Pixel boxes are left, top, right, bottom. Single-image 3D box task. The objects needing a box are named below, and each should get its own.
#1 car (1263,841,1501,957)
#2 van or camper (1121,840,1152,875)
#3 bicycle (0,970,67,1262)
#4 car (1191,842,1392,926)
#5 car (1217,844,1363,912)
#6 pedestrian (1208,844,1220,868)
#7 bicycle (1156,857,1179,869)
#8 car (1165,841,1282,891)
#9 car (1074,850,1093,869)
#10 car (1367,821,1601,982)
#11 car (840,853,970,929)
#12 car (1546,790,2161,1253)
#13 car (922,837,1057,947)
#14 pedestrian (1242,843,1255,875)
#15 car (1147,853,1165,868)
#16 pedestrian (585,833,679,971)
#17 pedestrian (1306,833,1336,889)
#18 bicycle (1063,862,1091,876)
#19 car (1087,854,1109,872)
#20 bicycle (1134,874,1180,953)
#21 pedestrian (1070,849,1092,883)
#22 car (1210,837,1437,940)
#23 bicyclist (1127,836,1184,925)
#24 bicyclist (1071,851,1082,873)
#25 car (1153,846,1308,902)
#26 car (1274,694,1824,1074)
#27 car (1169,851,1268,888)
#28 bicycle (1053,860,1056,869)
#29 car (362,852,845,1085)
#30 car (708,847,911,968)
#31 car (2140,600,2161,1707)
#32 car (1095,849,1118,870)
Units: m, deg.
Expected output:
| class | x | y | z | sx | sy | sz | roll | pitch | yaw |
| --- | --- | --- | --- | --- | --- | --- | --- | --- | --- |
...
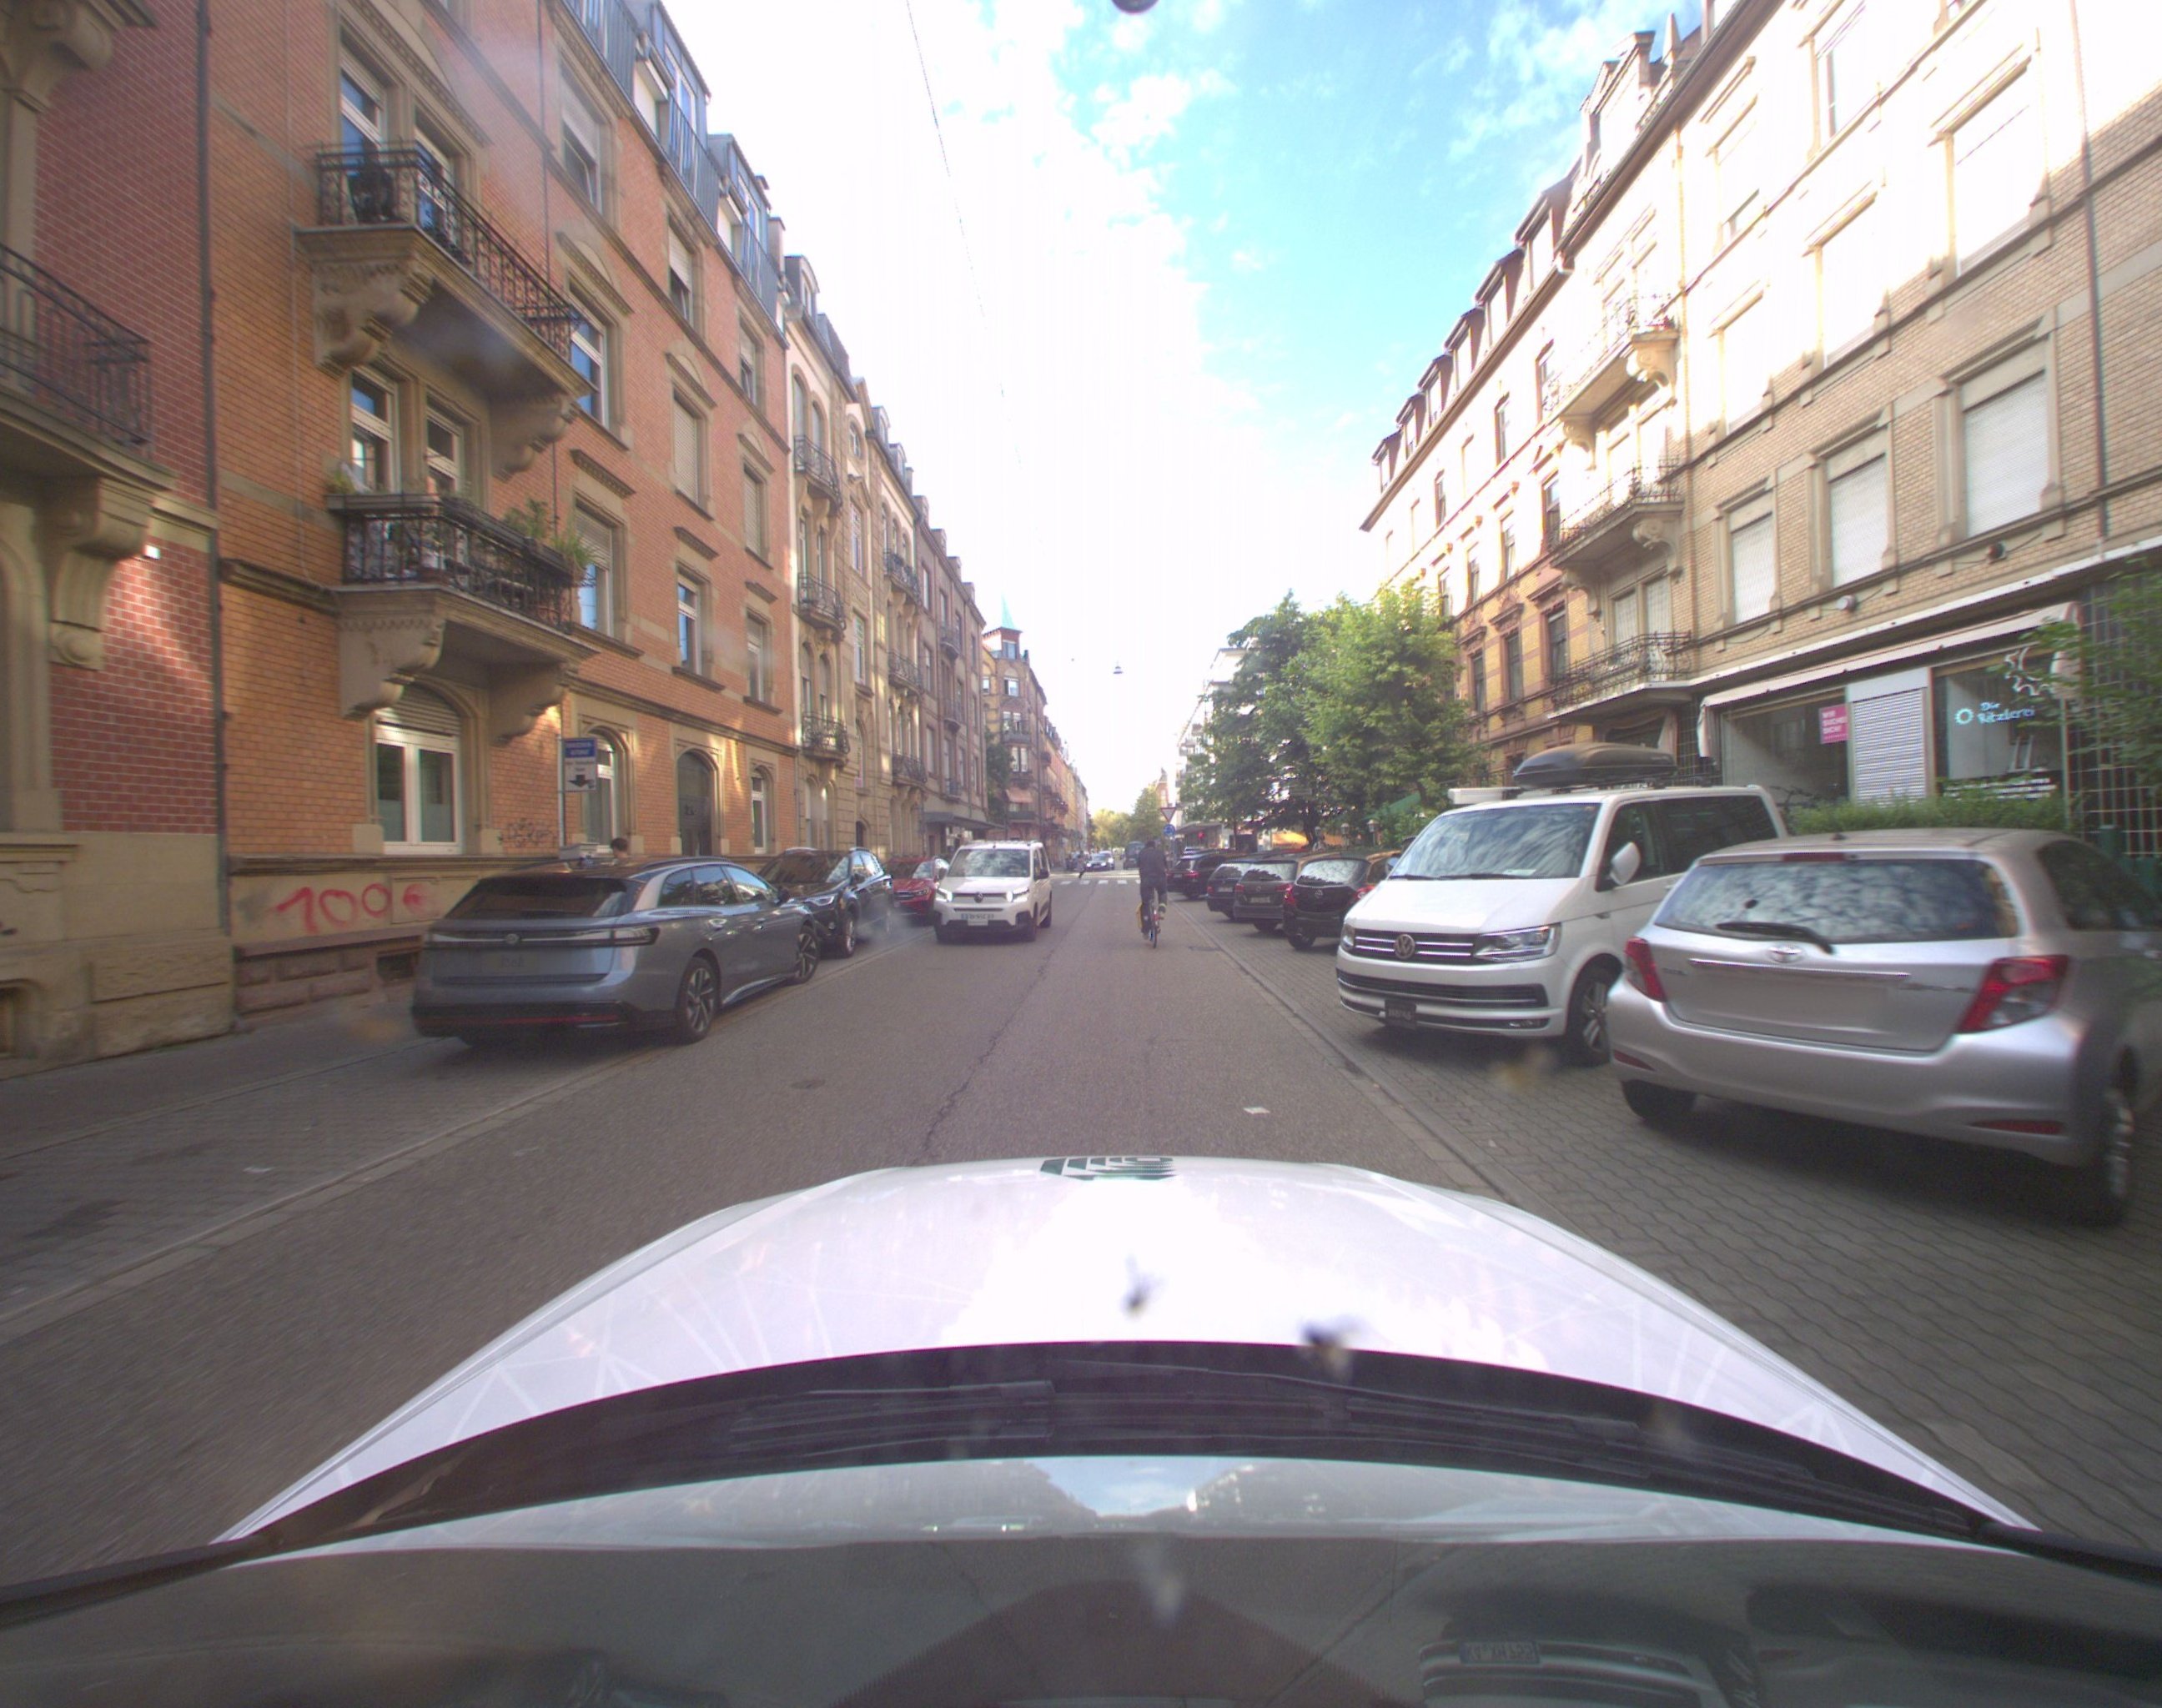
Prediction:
| class | x | y | z | sx | sy | sz | roll | pitch | yaw |
| --- | --- | --- | --- | --- | --- | --- | --- | --- | --- |
| car | 4.917 | 0.620 | 13.077 | 4.015 | 1.459 | 1.730 | -3 | 0 | -39 |
| van or camper | 5.023 | 0.315 | 74.398 | 2.523 | 3.037 | 4.459 | -2 | 0 | 0 |
| bicycle | -4.669 | 1.011 | 2.475 | 0.477 | 1.059 | 1.915 | 0 | -1 | 27 |
| car | 4.902 | 0.614 | 18.722 | 4.485 | 1.464 | 1.860 | -4 | 1 | -32 |
| car | 5.578 | 0.581 | 21.581 | 3.736 | 1.485 | 1.722 | -4 | 1 | -36 |
| pedestrian | 10.295 | 0.135 | 63.217 | 0.864 | 1.851 | 0.614 | -2 | 0 | 7 |
| bicycle | 7.703 | 0.803 | 72.904 | 1.991 | 1.045 | 0.533 | -2 | 0 | 5 |
| car | 5.793 | 0.456 | 33.109 | 4.361 | 1.645 | 1.807 | -4 | 1 | -24 |
| car | 0.252 | 0.609 | 90.482 | 1.987 | 2.013 | 4.000 | -2 | 0 | 1 |
| car | 5.117 | 0.520 | 10.366 | 2.472 | 1.666 | 1.336 | -5 | 2 | -24 |
| car | -4.049 | 0.807 | 19.578 | 1.986 | 1.545 | 4.428 | -2 | 0 | 2 |
| car | 4.738 | 0.521 | 4.660 | 4.253 | 1.549 | 1.854 | -1 | 1 | -33 |
| car | -1.611 | 0.646 | 15.949 | 1.909 | 1.828 | 4.442 | -1 | 0 | 3 |
| pedestrian | 9.526 | 0.279 | 46.344 | 0.624 | 1.739 | 0.779 | -2 | 0 | 15 |
| car | 7.669 | 0.656 | 83.409 | 1.638 | 1.324 | 3.580 | -4 | 0 | 4 |
| pedestrian | -6.123 | 0.634 | 11.136 | 0.752 | 1.808 | 0.864 | 0 | 0 | 6 |
| pedestrian | 8.395 | 0.244 | 28.481 | 0.835 | 1.878 | 0.724 | -2 | 0 | 7 |
| bicycle | -0.315 | 1.147 | 63.214 | 2.178 | 1.092 | 0.677 | 0 | 0 | -1 |
| car | 1.449 | 0.759 | 68.822 | 1.744 | 1.436 | 4.212 | -1 | -1 | 1 |
| bicycle | 1.271 | 0.957 | 13.977 | 0.663 | 1.178 | 2.499 | -1 | 0 | 3 |
| pedestrian | 0.000 | 0.627 | 43.410 | 0.774 | 1.780 | 0.798 | -3 | 0 | 41 |
| car | 4.800 | 0.577 | 15.818 | 4.490 | 1.477 | 1.868 | -5 | 2 | -37 |
| bicyclist | 1.270 | 0.447 | 14.049 | 0.929 | 1.484 | 0.748 | -1 | 0 | 2 |
| bicyclist | -0.345 | 0.618 | 63.220 | 0.851 | 1.665 | 0.790 | 0 | 0 | 0 |
| car | 5.005 | 0.621 | 27.150 | 4.778 | 1.456 | 2.039 | -4 | 1 | -26 |
| car | 4.363 | 0.107 | 7.297 | 5.177 | 2.405 | 1.899 | -3 | 0 | -31 |
| car | 6.039 | 0.646 | 35.735 | 3.951 | 1.457 | 1.755 | -2 | 0 | -26 |
| bicycle | -3.063 | 1.174 | 93.515 | 0.359 | 0.947 | 1.714 | -1 | 0 | -2 |
| car | -4.037 | 0.786 | 8.221 | 1.820 | 1.578 | 5.261 | -1 | 0 | -1 |
| car | -4.304 | 0.723 | 13.843 | 1.867 | 1.681 | 4.892 | 0 | 1 | -1 |
| car | 3.910 | 0.473 | 1.521 | 4.474 | 1.732 | 1.980 | -1 | 0 | -33 |
| car | 2.469 | 0.466 | 77.611 | 1.933 | 1.722 | 4.856 | -3 | 1 | 5 |
